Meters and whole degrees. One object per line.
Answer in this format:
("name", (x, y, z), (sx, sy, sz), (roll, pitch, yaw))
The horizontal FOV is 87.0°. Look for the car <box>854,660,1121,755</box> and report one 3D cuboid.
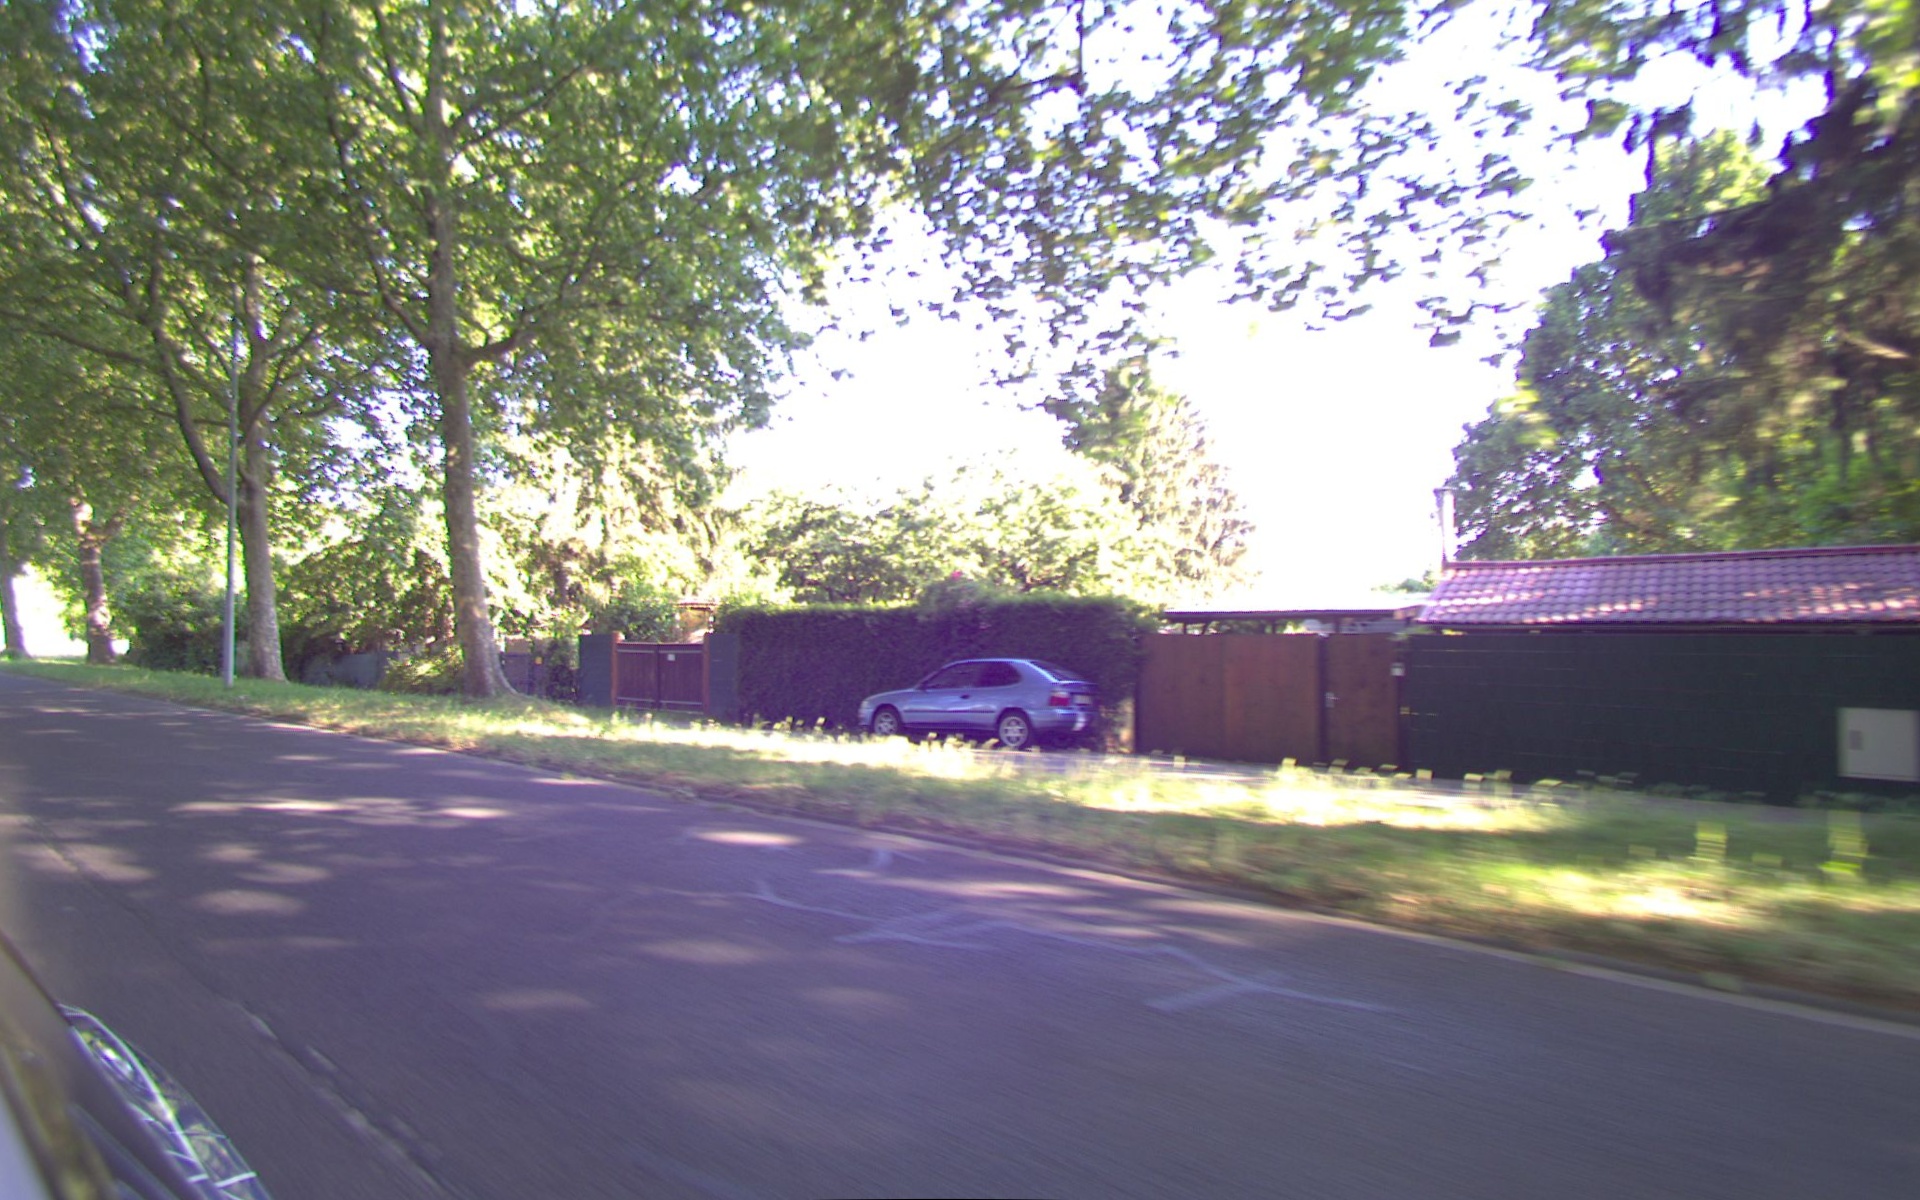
("car", (0.368, 1.619, 16.065), (3.993, 1.314, 1.736), (-3, -4, 37))
